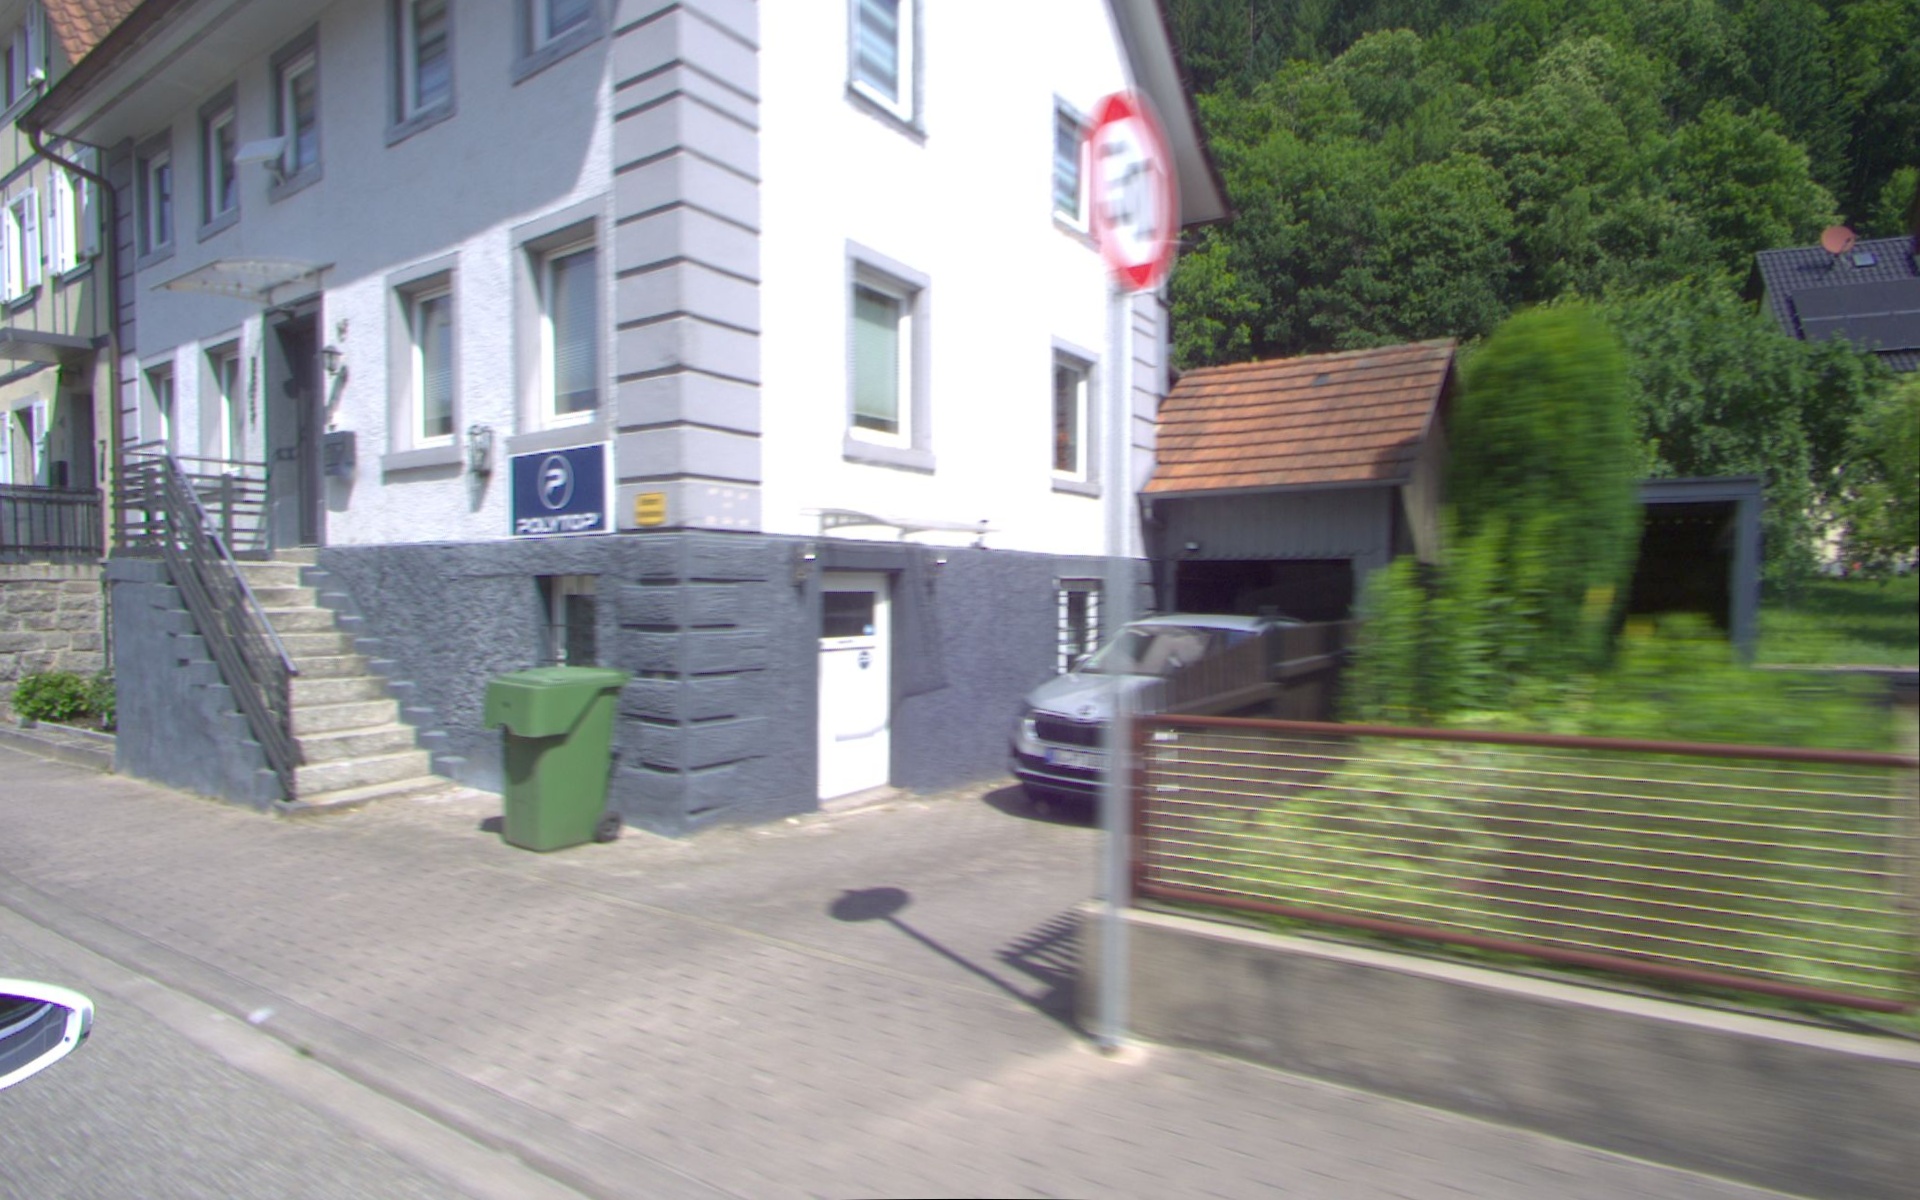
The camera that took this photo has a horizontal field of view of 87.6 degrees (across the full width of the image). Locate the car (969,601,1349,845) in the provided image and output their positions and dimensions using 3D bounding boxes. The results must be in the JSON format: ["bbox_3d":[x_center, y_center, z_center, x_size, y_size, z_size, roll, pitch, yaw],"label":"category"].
[{"bbox_3d":[1.944,0.906,8.765,1.776,1.610,3.949,0,-2,36],"label":"car"}]

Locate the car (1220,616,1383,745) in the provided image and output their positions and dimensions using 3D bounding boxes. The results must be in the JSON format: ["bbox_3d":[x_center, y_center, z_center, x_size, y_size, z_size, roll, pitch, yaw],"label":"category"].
[{"bbox_3d":[4.815,1.006,13.888,1.357,1.511,3.219,0,0,34],"label":"car"}]

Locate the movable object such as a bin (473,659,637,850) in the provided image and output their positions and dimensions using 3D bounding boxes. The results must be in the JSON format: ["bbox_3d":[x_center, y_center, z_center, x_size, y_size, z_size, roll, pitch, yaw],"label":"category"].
[{"bbox_3d":[-2.489,0.912,6.179,0.609,1.034,0.702,0,1,34],"label":"movable object such as a bin"}]
